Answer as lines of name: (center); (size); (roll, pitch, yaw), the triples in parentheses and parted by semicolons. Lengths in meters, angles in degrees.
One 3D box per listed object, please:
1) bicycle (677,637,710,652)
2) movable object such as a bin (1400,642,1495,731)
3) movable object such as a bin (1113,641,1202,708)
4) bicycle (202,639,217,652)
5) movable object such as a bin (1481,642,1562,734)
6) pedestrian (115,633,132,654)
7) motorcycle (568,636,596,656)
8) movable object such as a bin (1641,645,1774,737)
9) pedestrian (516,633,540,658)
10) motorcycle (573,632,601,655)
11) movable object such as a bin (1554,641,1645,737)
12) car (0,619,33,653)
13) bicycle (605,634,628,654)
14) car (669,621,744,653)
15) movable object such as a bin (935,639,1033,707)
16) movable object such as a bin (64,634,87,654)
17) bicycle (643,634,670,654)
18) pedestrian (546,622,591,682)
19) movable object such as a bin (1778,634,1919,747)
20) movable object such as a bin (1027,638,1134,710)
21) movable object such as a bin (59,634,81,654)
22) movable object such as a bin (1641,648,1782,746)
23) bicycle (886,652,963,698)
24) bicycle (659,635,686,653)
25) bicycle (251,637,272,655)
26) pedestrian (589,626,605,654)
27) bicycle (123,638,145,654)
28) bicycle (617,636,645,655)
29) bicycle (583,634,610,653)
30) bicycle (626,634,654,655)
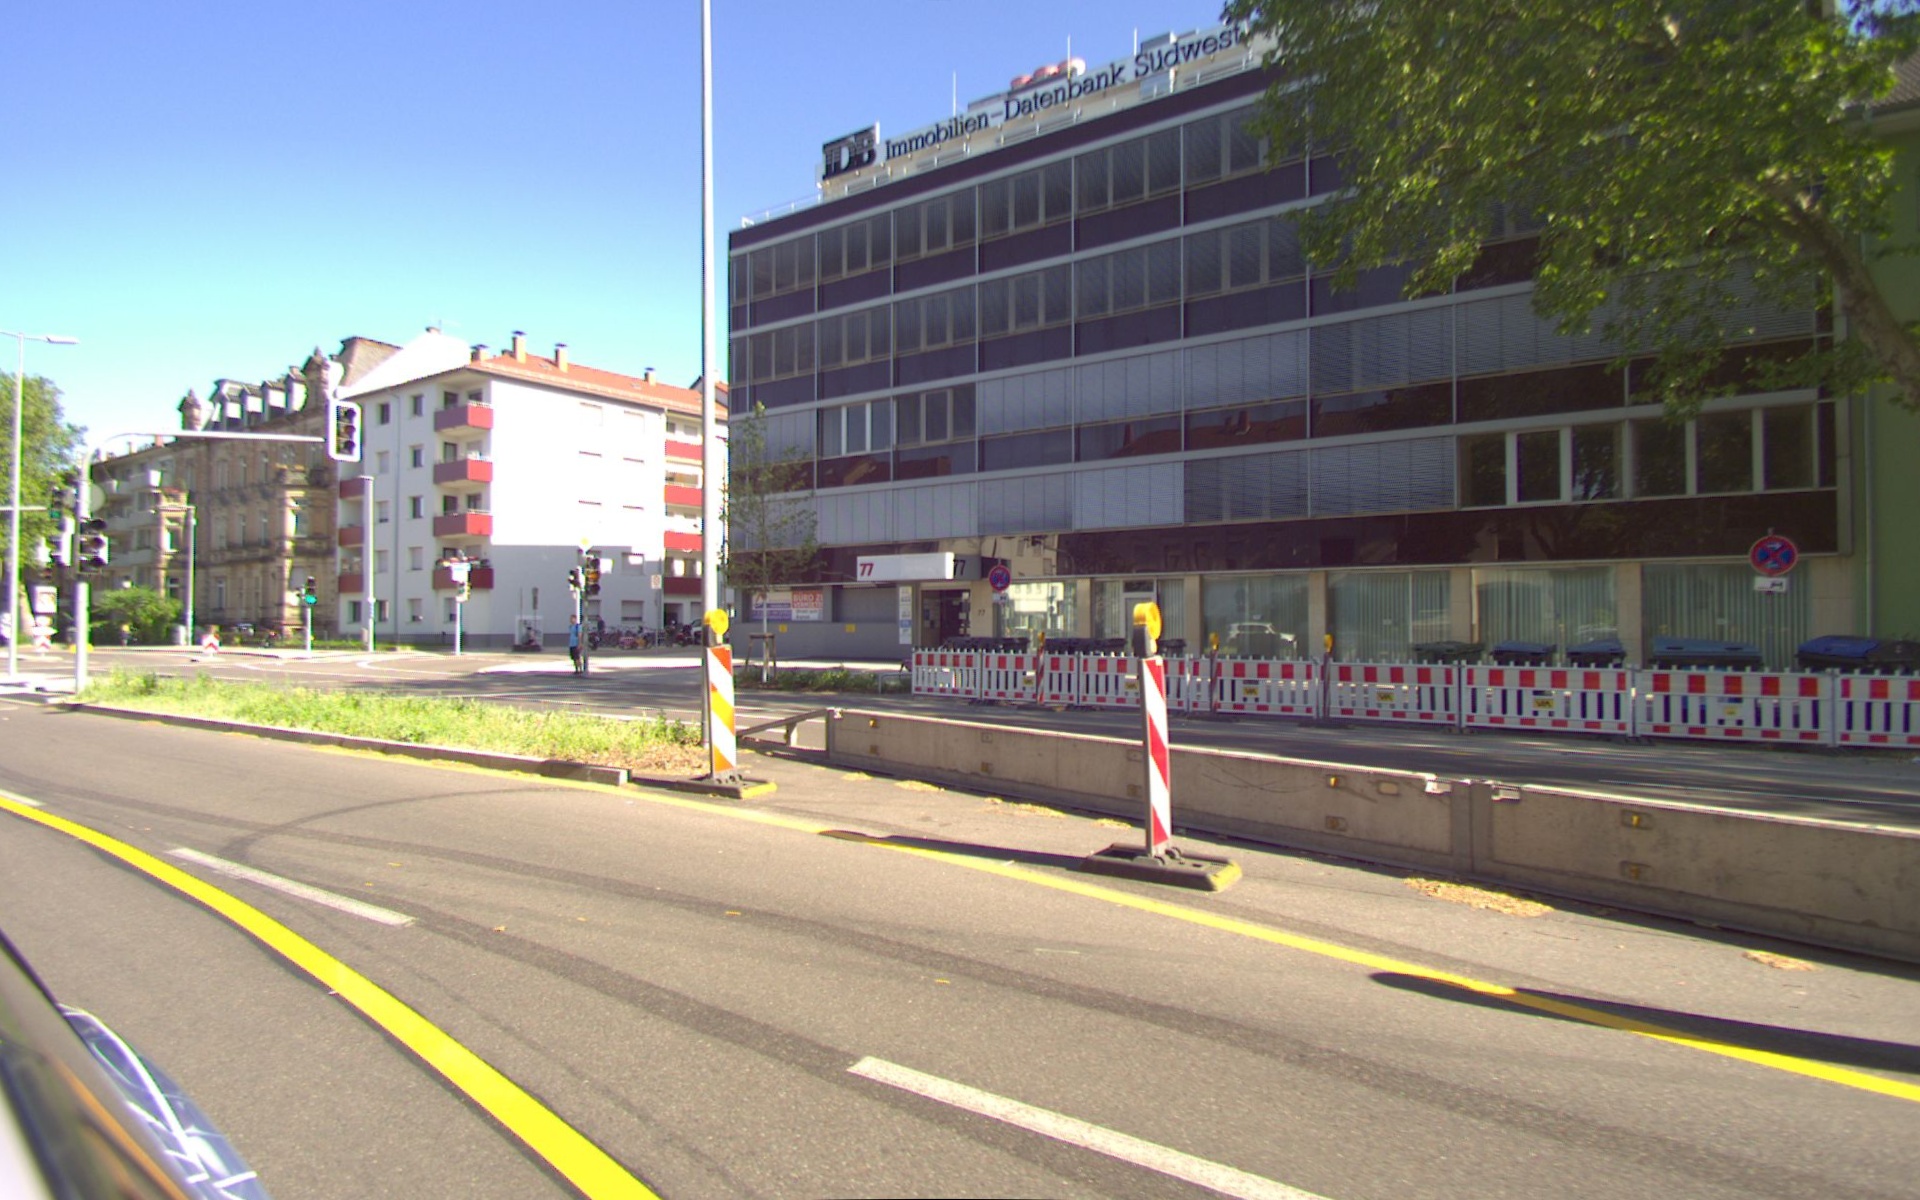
bicycle: (-14.363, 2.395, 54.510); (1.705, 0.820, 0.413); (-1, -2, 11)
movable object such as a bin: (8.038, 1.379, 16.660); (1.154, 1.348, 1.397); (-2, -2, 36)
movable object such as a bin: (3.891, 1.438, 19.912); (1.239, 1.212, 1.381); (-1, -2, 37)
bicycle: (-45.561, 2.781, 61.451); (1.410, 0.777, 0.296); (-2, -2, 35)
movable object such as a bin: (8.823, 1.343, 15.886); (0.934, 1.348, 1.397); (-2, -2, 36)
pedestrian: (-56.240, 2.917, 68.017); (1.087, 1.388, 0.562); (-2, -2, 33)
motorcycle: (-18.755, 2.272, 50.229); (1.841, 0.943, 0.497); (-2, -2, 42)
movable object such as a bin: (11.226, 1.335, 15.278); (1.536, 1.280, 0.971); (-2, -2, 34)
pedestrian: (-20.412, 2.145, 47.858); (0.783, 1.162, 0.714); (-1, -2, 22)
motorcycle: (-19.107, 2.198, 51.789); (1.783, 1.150, 0.604); (-2, -2, 43)
movable object such as a bin: (9.734, 1.307, 15.394); (1.066, 1.348, 1.397); (-2, -2, 36)
car: (-75.465, 2.889, 79.884); (5.275, 2.465, 2.225); (-3, -5, 35)
bicycle: (-17.411, 2.241, 51.280); (0.500, 0.985, 1.888); (1, -2, -39)
car: (-14.470, 2.091, 57.720); (4.476, 1.744, 1.973); (-2, -2, 41)
movable object such as a bin: (0.519, 1.573, 22.177); (1.852, 1.399, 1.104); (-1, -2, 36)
movable object such as a bin: (-64.005, 3.175, 73.213); (1.470, 1.371, 0.885); (-3, -5, 36)
bicycle: (-16.032, 2.328, 53.403); (1.735, 1.011, 0.503); (-2, -2, 39)
pedestrian: (-11.578, 1.520, 29.934); (1.012, 1.724, 0.856); (-2, -3, 41)
movable object such as a bin: (12.440, 1.198, 13.837); (1.248, 1.433, 1.631); (-1, -1, 9)
movable object such as a bin: (2.487, 1.494, 20.930); (1.852, 1.399, 1.204); (-1, -2, 36)
movable object such as a bin: (-65.113, 3.227, 74.053); (1.311, 1.373, 0.885); (-3, -5, 33)
movable object such as a bin: (10.661, 1.340, 14.443); (1.536, 1.280, 0.971); (-2, -2, 34)
bicycle: (-0.871, 1.810, 24.635); (1.875, 1.045, 0.621); (-2, -2, 36)
bicycle: (-15.301, 2.351, 53.900); (1.720, 0.955, 0.454); (-1, -2, 37)
bicycle: (-39.499, 2.599, 57.237); (1.935, 0.965, 0.302); (-2, -2, 35)
pedestrian: (-19.961, 2.178, 55.645); (0.693, 1.508, 0.594); (-2, -2, 38)
bicycle: (-55.664, 3.098, 68.201); (2.243, 1.013, 0.463); (-2, -1, 33)
bicycle: (-16.766, 2.300, 51.509); (1.951, 0.955, 0.472); (-2, -2, 43)
bicycle: (-19.248, 2.315, 53.588); (1.735, 0.976, 0.568); (-2, -2, 39)
bicycle: (-16.622, 2.305, 52.519); (1.733, 1.077, 0.484); (-2, -2, 37)
